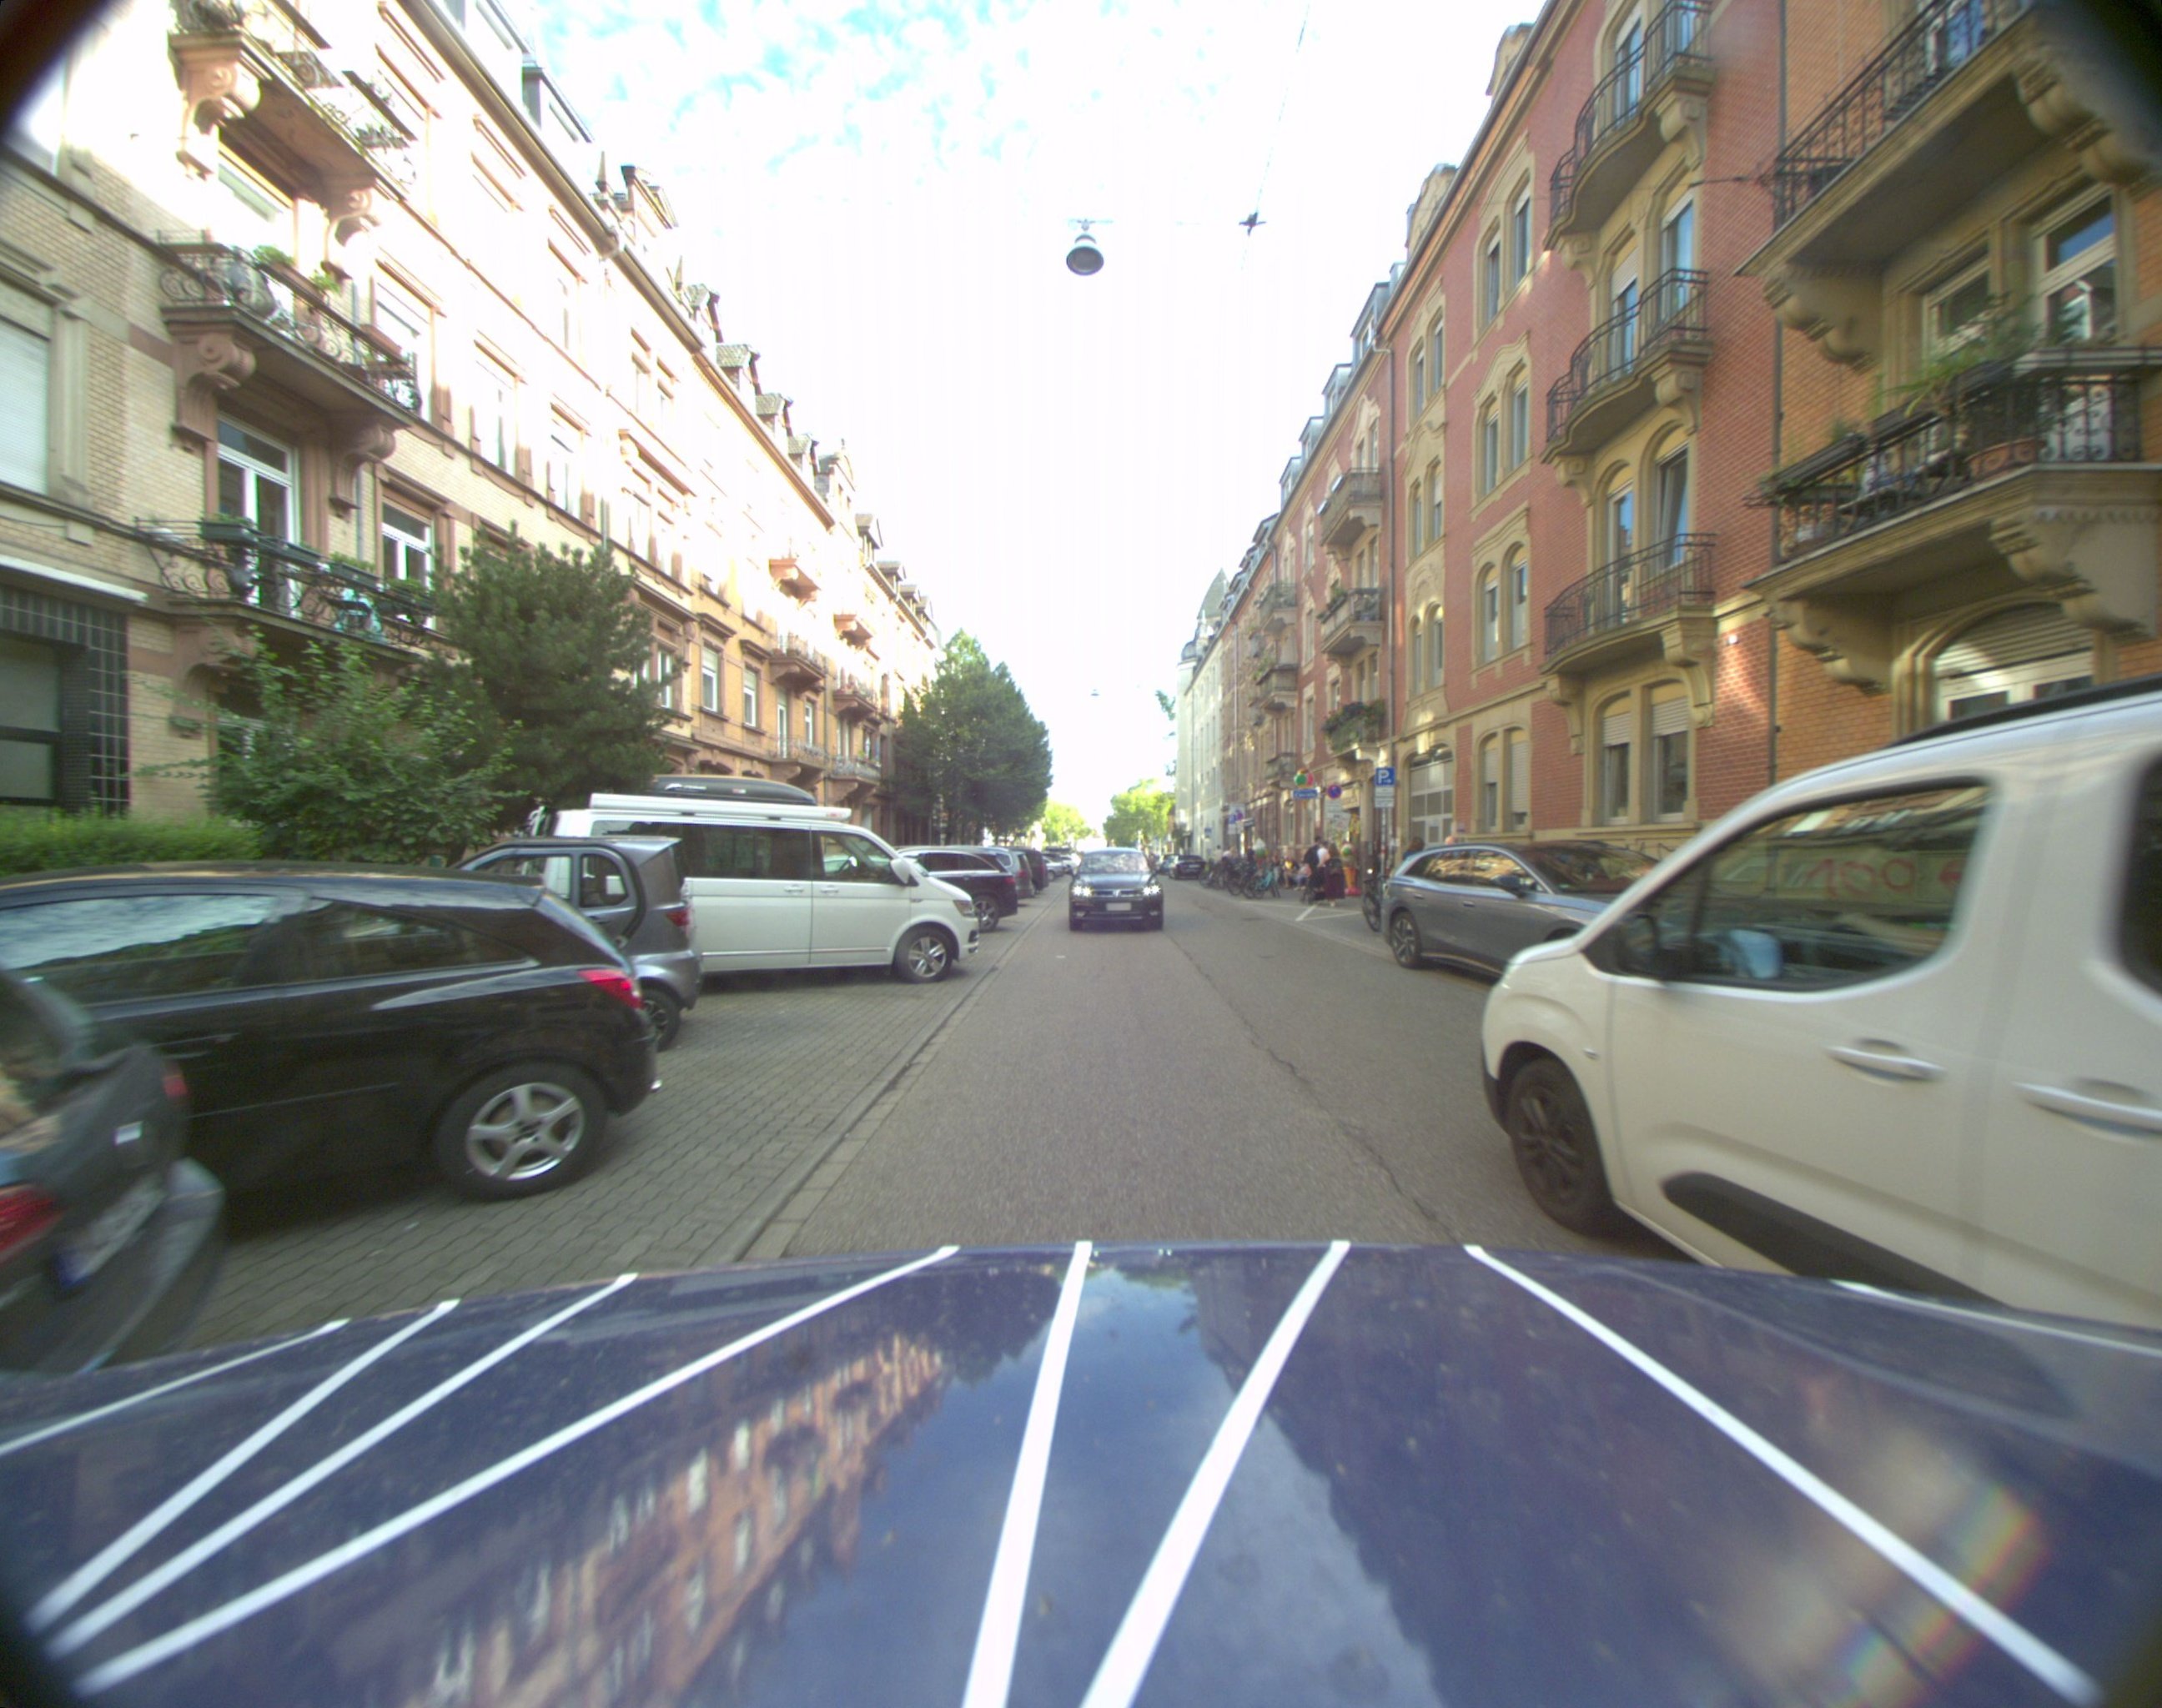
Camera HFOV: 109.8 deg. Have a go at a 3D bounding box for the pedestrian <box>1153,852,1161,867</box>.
[{"bbox_3d":[6.783,0.494,67.648,0.668,1.328,0.740,-1,1,8],"label":"pedestrian"}]

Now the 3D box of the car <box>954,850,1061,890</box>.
[{"bbox_3d":[-3.058,0.669,31.854,4.008,1.539,1.864,2,0,-36],"label":"car"}]

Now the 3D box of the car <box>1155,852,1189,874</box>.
[{"bbox_3d":[6.206,0.559,52.348,1.674,1.407,4.011,-1,0,-2],"label":"car"}]

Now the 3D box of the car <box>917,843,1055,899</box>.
[{"bbox_3d":[-3.291,0.590,26.631,4.411,1.812,1.750,2,1,-30],"label":"car"}]

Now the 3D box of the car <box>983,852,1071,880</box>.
[{"bbox_3d":[-3.016,0.686,42.668,4.620,1.443,1.788,2,0,-31],"label":"car"}]

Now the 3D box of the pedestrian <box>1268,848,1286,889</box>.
[{"bbox_3d":[7.639,0.560,29.622,0.554,1.607,0.584,-1,1,1],"label":"pedestrian"}]

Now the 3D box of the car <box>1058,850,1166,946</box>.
[{"bbox_3d":[0.745,0.779,15.627,1.874,1.644,4.388,-1,0,5],"label":"car"}]

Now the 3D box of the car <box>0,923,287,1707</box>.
[{"bbox_3d":[-3.830,0.870,0.379,4.479,1.468,1.884,3,-1,-38],"label":"car"}]

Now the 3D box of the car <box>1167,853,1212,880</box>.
[{"bbox_3d":[6.008,0.645,42.487,1.816,1.343,5.115,-1,0,0],"label":"car"}]

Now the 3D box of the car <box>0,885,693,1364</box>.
[{"bbox_3d":[-4.012,0.908,3.119,4.003,1.451,1.746,1,0,-40],"label":"car"}]

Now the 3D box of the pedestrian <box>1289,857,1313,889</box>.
[{"bbox_3d":[8.195,0.702,28.332,0.710,1.190,0.586,-1,1,-3],"label":"pedestrian"}]

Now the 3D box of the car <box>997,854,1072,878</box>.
[{"bbox_3d":[-2.816,0.692,46.015,4.145,1.409,1.864,0,0,-34],"label":"car"}]

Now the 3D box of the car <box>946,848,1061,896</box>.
[{"bbox_3d":[-2.969,0.670,29.274,4.007,1.731,1.835,1,0,-29],"label":"car"}]

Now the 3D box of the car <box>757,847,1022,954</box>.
[{"bbox_3d":[-3.572,0.765,14.489,4.465,1.722,1.995,-1,0,-33],"label":"car"}]

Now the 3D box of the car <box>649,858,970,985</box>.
[{"bbox_3d":[-4.039,0.872,11.536,4.245,1.540,1.869,-1,0,-33],"label":"car"}]

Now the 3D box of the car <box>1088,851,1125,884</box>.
[{"bbox_3d":[1.395,0.688,41.044,1.810,1.622,4.001,-2,0,2],"label":"car"}]

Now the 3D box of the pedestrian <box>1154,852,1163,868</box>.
[{"bbox_3d":[6.760,0.487,66.272,0.689,1.365,0.739,-1,1,5],"label":"pedestrian"}]

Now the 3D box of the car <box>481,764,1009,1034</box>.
[{"bbox_3d":[-3.613,0.415,8.899,5.169,2.391,1.913,1,1,-32],"label":"car"}]

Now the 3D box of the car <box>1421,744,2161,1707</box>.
[{"bbox_3d":[2.618,0.717,1.587,1.922,1.817,4.438,-1,0,2],"label":"car"}]

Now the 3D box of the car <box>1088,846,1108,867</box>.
[{"bbox_3d":[1.645,0.208,72.838,1.810,1.914,4.001,-2,0,2],"label":"car"}]

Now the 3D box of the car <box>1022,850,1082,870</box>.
[{"bbox_3d":[-2.484,0.541,65.229,4.816,1.535,1.866,2,1,-31],"label":"car"}]

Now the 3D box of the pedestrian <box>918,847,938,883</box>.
[{"bbox_3d":[-7.062,0.520,35.151,0.733,1.625,0.833,1,2,-1],"label":"pedestrian"}]

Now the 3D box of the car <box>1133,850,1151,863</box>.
[{"bbox_3d":[7.060,0.298,88.787,1.828,1.477,4.170,-1,0,1],"label":"car"}]

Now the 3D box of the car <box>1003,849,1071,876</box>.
[{"bbox_3d":[-2.813,0.561,48.943,4.007,1.689,1.848,0,0,-34],"label":"car"}]

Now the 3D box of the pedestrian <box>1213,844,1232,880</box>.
[{"bbox_3d":[7.355,0.423,39.422,0.761,1.808,0.667,-1,1,31],"label":"pedestrian"}]

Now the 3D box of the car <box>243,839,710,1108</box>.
[{"bbox_3d":[-4.283,0.805,5.825,2.472,1.656,1.344,3,-1,-25],"label":"car"}]

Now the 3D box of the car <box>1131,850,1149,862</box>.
[{"bbox_3d":[7.364,0.266,94.869,1.911,1.412,4.000,-1,0,1],"label":"car"}]

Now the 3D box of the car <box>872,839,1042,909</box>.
[{"bbox_3d":[-3.549,0.594,22.459,4.648,1.774,1.810,2,-1,0],"label":"car"}]

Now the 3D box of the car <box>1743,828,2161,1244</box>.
[{"bbox_3d":[5.280,0.703,2.452,1.878,1.671,4.893,-1,0,-2],"label":"car"}]

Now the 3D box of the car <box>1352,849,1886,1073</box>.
[{"bbox_3d":[4.844,0.755,8.122,1.830,1.569,5.262,-1,0,-2],"label":"car"}]

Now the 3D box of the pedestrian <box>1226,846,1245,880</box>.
[{"bbox_3d":[8.103,0.484,39.774,0.761,1.749,0.667,-1,1,31],"label":"pedestrian"}]
